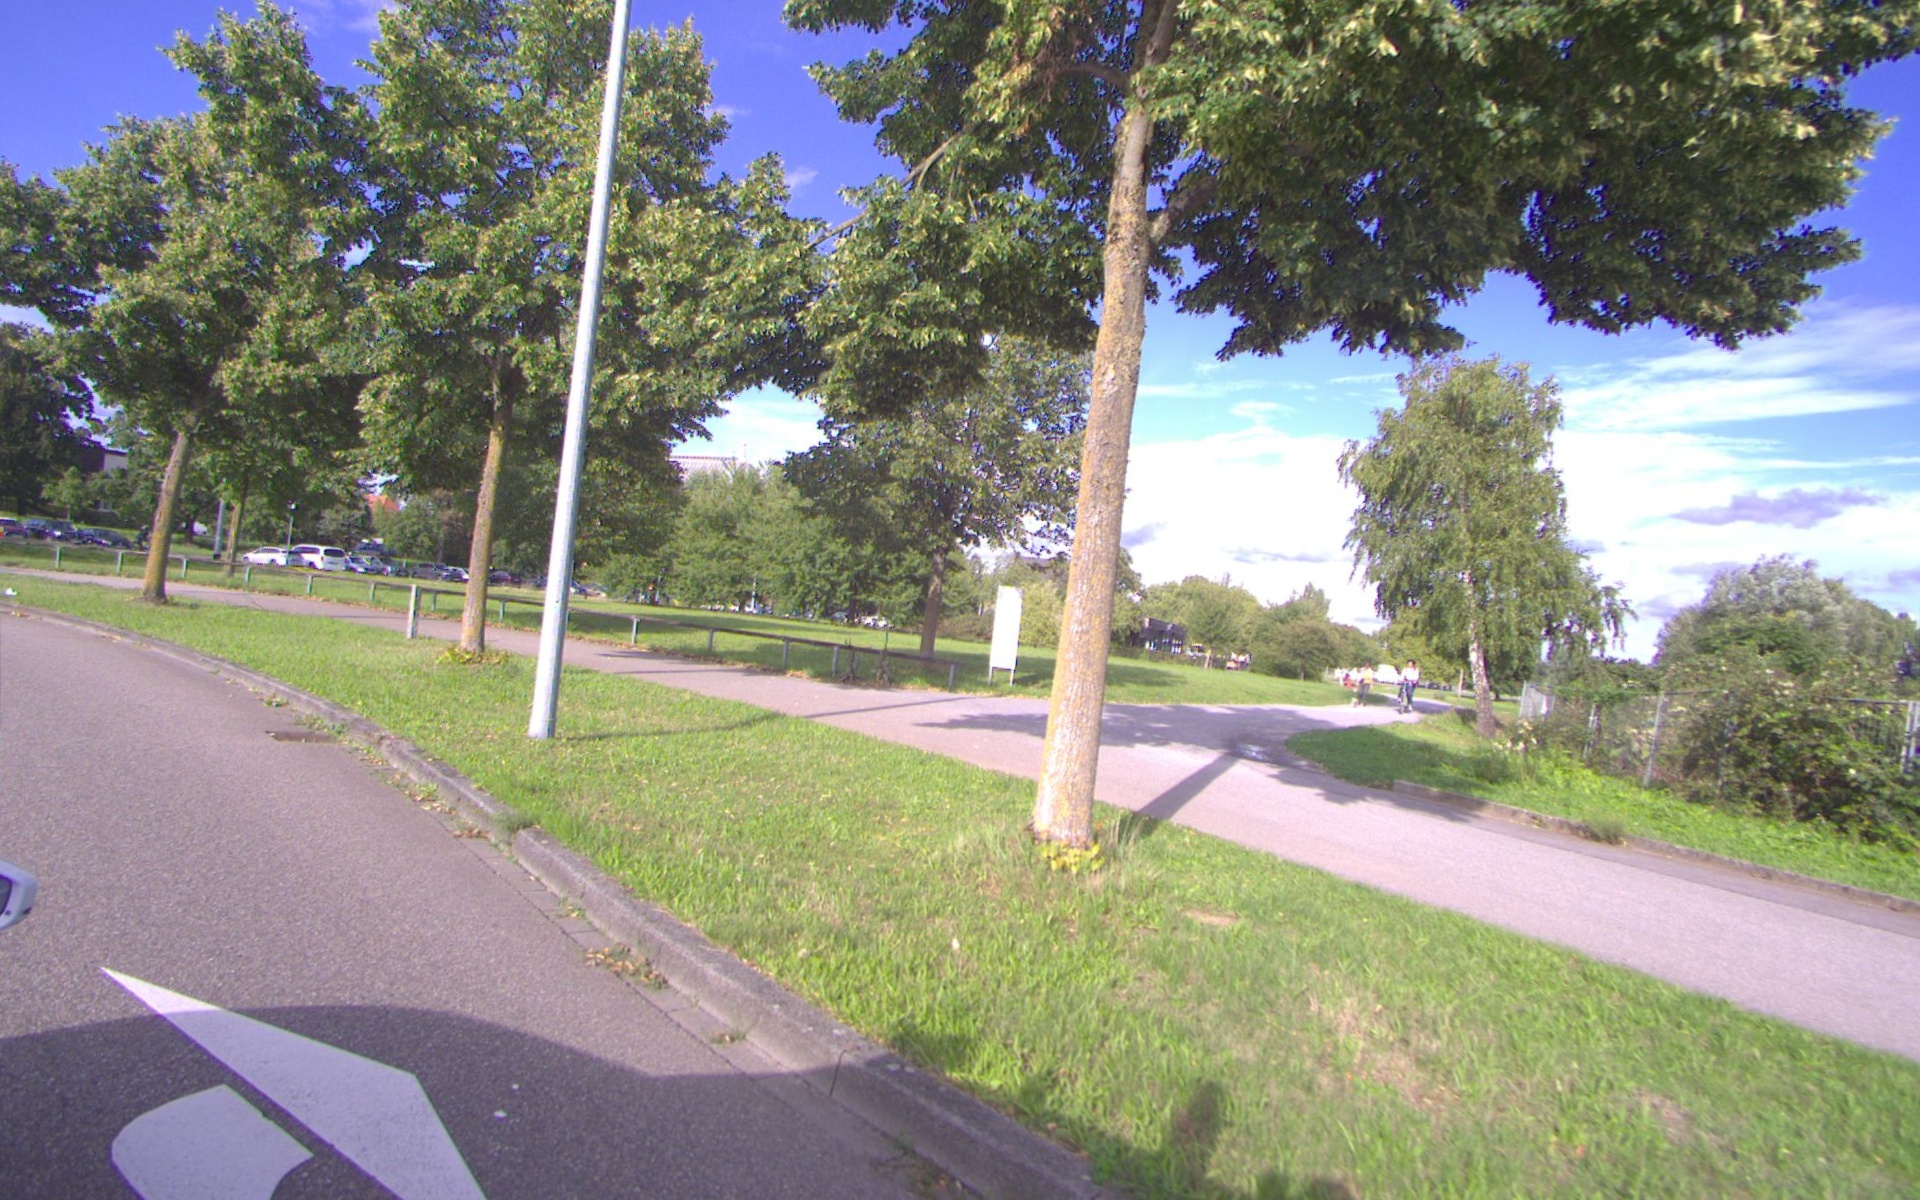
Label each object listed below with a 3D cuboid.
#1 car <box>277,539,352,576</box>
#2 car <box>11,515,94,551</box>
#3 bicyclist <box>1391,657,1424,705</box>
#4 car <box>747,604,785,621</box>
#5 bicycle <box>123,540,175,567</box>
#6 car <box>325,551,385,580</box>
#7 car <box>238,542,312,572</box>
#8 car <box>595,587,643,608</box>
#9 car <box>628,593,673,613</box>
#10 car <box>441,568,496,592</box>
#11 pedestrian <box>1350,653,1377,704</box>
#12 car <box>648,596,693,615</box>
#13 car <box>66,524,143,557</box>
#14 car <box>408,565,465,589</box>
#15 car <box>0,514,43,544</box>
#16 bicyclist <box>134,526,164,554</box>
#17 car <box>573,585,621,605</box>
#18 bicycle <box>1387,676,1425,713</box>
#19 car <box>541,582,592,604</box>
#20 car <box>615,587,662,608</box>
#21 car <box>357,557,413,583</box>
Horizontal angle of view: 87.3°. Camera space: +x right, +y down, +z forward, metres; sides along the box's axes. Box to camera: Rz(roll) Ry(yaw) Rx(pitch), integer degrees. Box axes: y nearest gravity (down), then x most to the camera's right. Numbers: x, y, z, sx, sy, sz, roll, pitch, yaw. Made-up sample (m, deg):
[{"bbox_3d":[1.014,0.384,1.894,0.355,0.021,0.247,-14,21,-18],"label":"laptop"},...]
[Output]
[{"bbox_3d":[-45.540,-2.984,70.946,5.027,2.031,2.313,5,-1,30],"label":"car"},{"bbox_3d":[-51.850,-3.837,57.456,4.859,1.534,1.859,6,-1,27],"label":"car"},{"bbox_3d":[15.398,2.785,34.590,0.791,1.566,0.903,6,0,31],"label":"bicyclist"},{"bbox_3d":[-22.907,1.437,118.860,4.402,1.559,1.853,5,-1,38],"label":"car"},{"bbox_3d":[-44.166,-2.533,54.842,0.701,1.237,2.529,6,-1,-1],"label":"bicycle"},{"bbox_3d":[-44.385,-2.533,73.796,4.399,1.694,2.097,5,-1,35],"label":"car"},{"bbox_3d":[-46.521,-2.933,68.316,4.386,1.534,1.862,6,-1,19],"label":"car"},{"bbox_3d":[-33.064,-0.236,97.467,4.394,1.559,1.856,5,-1,30],"label":"car"},{"bbox_3d":[-31.503,0.266,102.369,4.394,1.559,1.856,5,-1,30],"label":"car"},{"bbox_3d":[-40.125,-1.627,82.102,4.394,1.522,1.858,5,-1,30],"label":"car"},{"bbox_3d":[14.480,2.826,36.099,0.656,1.753,0.596,6,0,30],"label":"pedestrian"},{"bbox_3d":[-30.168,0.576,104.787,4.394,1.559,1.856,5,-1,30],"label":"car"},{"bbox_3d":[-50.940,-3.550,59.899,4.391,1.534,1.859,6,-1,27],"label":"car"},{"bbox_3d":[-41.520,-1.812,79.747,4.394,1.415,1.858,5,-1,30],"label":"car"},{"bbox_3d":[-52.936,-4.029,55.615,4.391,1.379,1.859,6,-1,27],"label":"car"},{"bbox_3d":[-44.105,-3.248,54.729,0.701,1.371,1.005,6,0,-3],"label":"bicyclist"},{"bbox_3d":[-34.349,-0.488,95.168,4.394,1.471,1.856,5,-1,30],"label":"car"},{"bbox_3d":[15.381,3.242,34.652,0.791,1.139,2.597,6,-1,31],"label":"bicycle"},{"bbox_3d":[-35.818,-0.663,91.524,4.394,1.559,1.856,5,-1,30],"label":"car"},{"bbox_3d":[-31.950,-0.251,100.035,4.394,1.559,1.856,5,-1,30],"label":"car"},{"bbox_3d":[-43.295,-2.271,75.713,4.048,1.534,2.031,5,-1,35],"label":"car"}]
